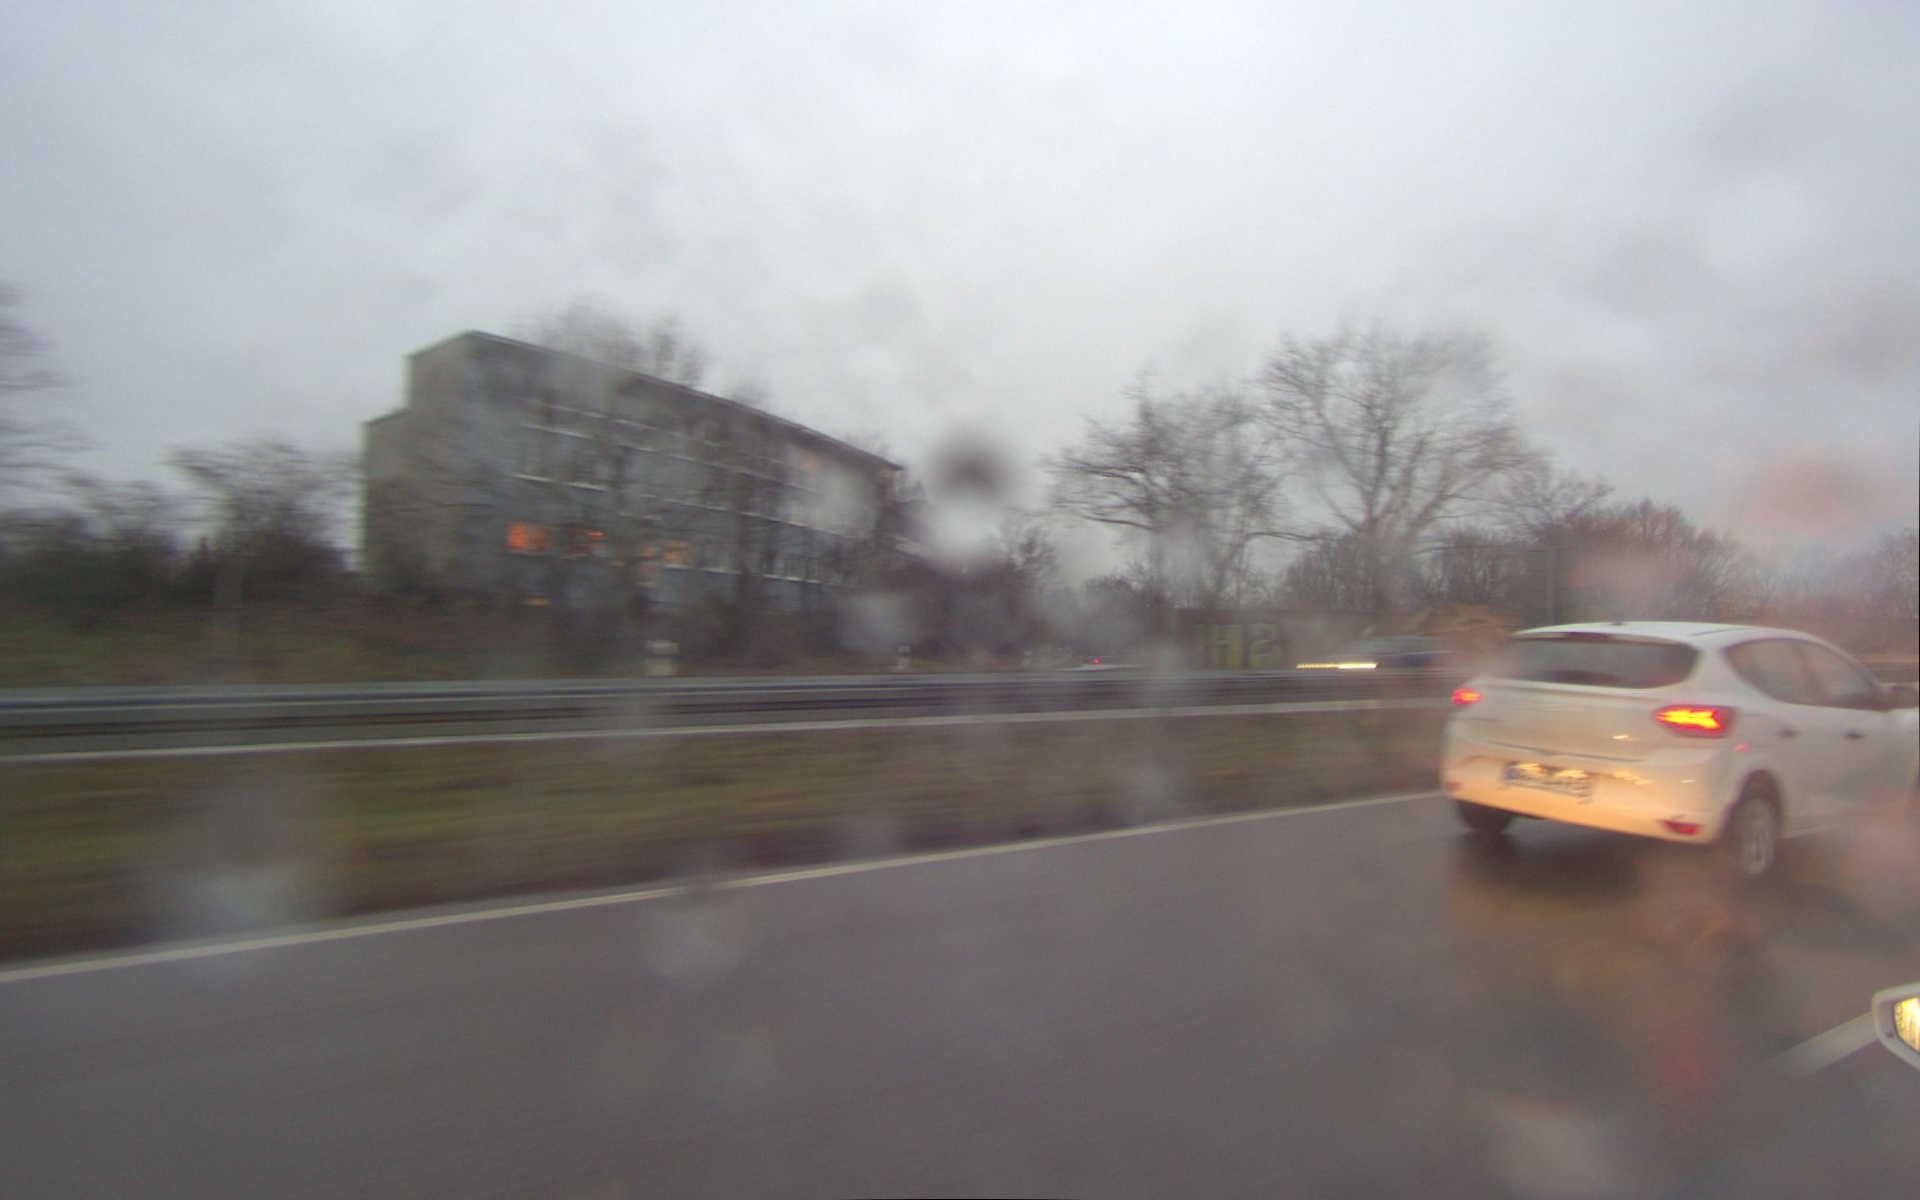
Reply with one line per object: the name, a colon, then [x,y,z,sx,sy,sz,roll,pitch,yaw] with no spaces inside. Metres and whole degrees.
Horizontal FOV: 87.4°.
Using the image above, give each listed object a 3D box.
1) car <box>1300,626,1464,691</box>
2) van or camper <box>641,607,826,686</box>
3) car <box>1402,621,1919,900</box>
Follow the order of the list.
car: [10.923,1.500,25.958,4.001,1.553,1.777,2,-2,-27]
van or camper: [-5.557,1.135,24.711,4.155,1.807,1.643,2,-2,-27]
car: [5.236,0.915,7.024,4.172,1.459,1.717,2,-2,-27]
